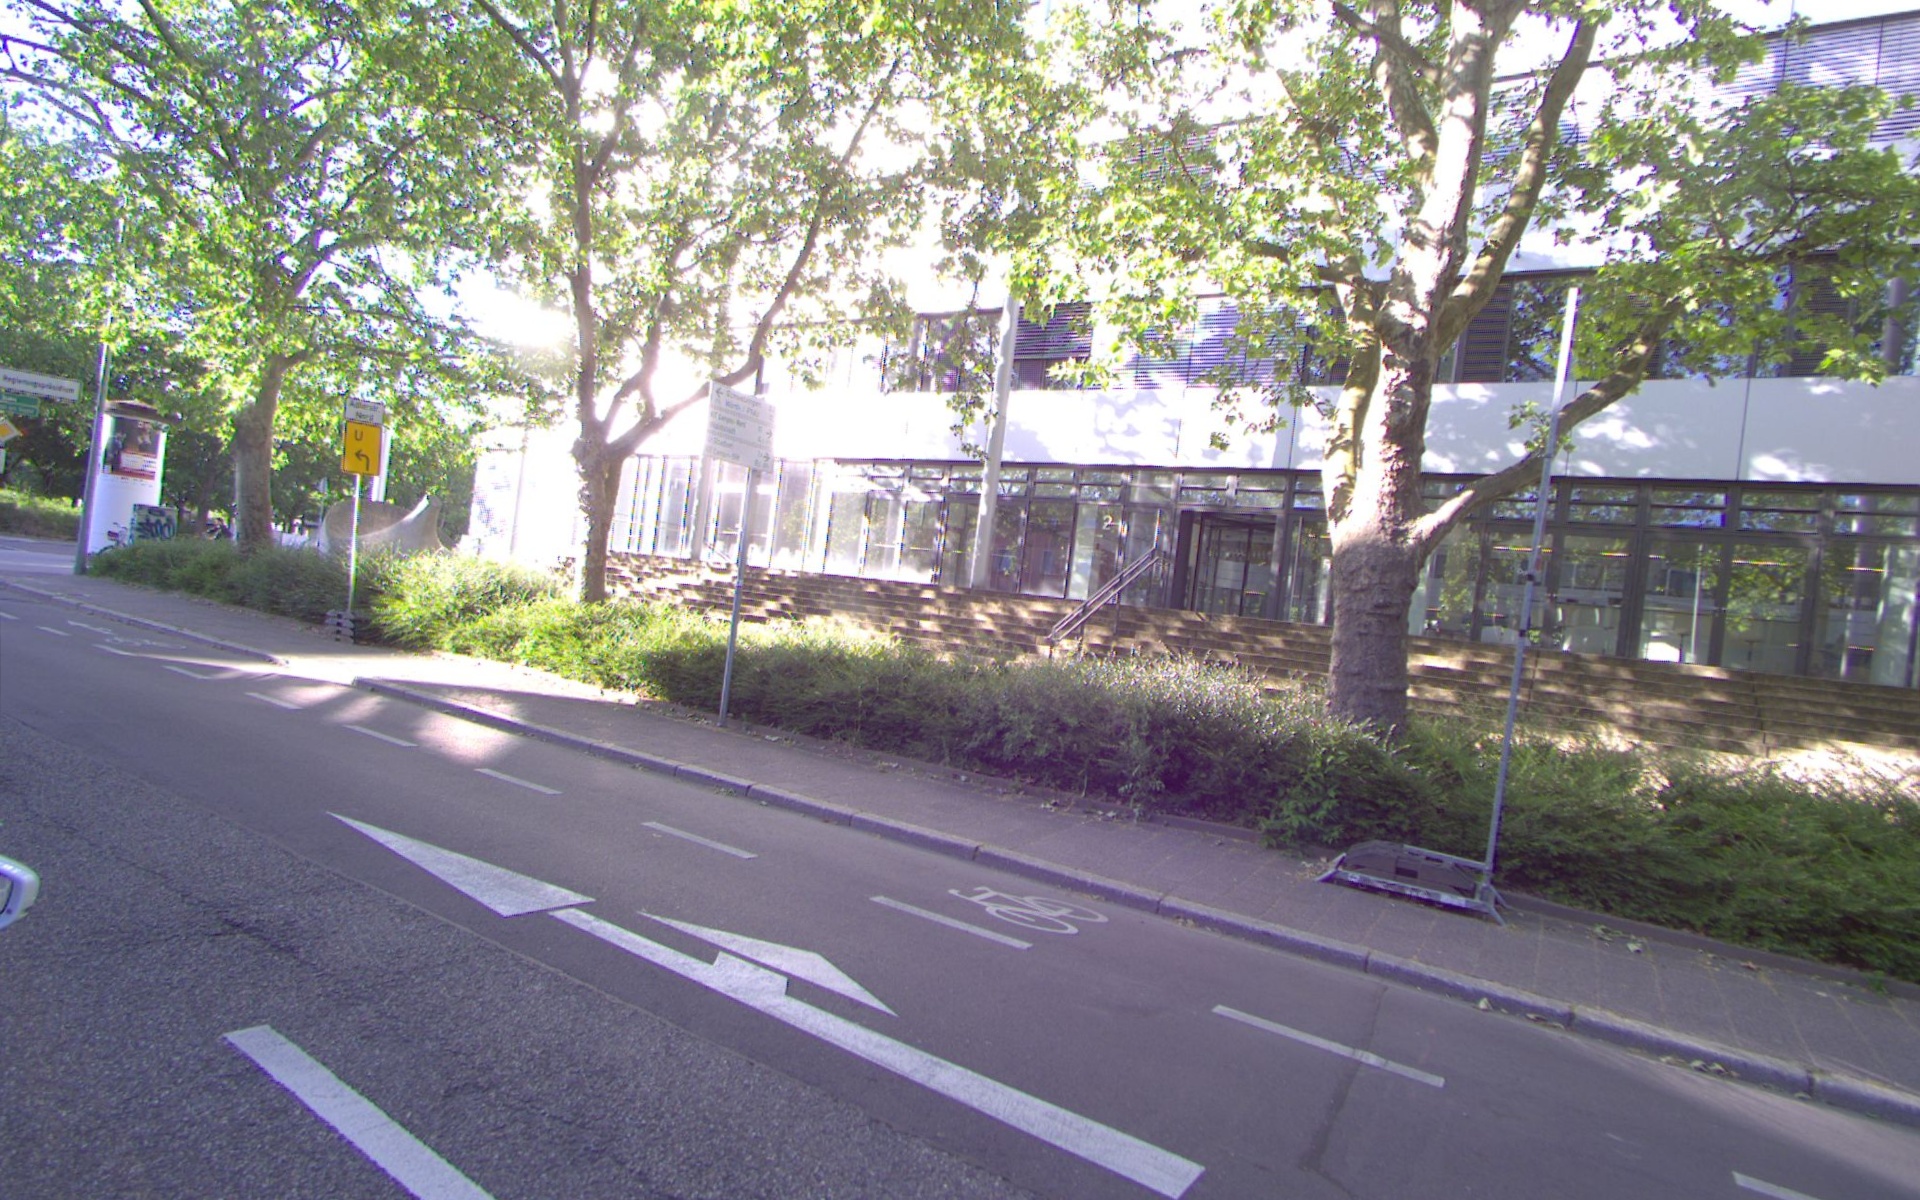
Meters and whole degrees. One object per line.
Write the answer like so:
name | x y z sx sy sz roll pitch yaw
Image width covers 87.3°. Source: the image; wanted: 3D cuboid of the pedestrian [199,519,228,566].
pedestrian | -30.778 -2.361 41.478 0.620 1.805 0.620 7 0 34

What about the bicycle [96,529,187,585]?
bicycle | -18.409 -0.960 22.646 0.529 1.049 1.418 7 -1 28

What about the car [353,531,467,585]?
car | -25.256 -1.905 46.310 1.969 1.805 3.998 7 -1 37
